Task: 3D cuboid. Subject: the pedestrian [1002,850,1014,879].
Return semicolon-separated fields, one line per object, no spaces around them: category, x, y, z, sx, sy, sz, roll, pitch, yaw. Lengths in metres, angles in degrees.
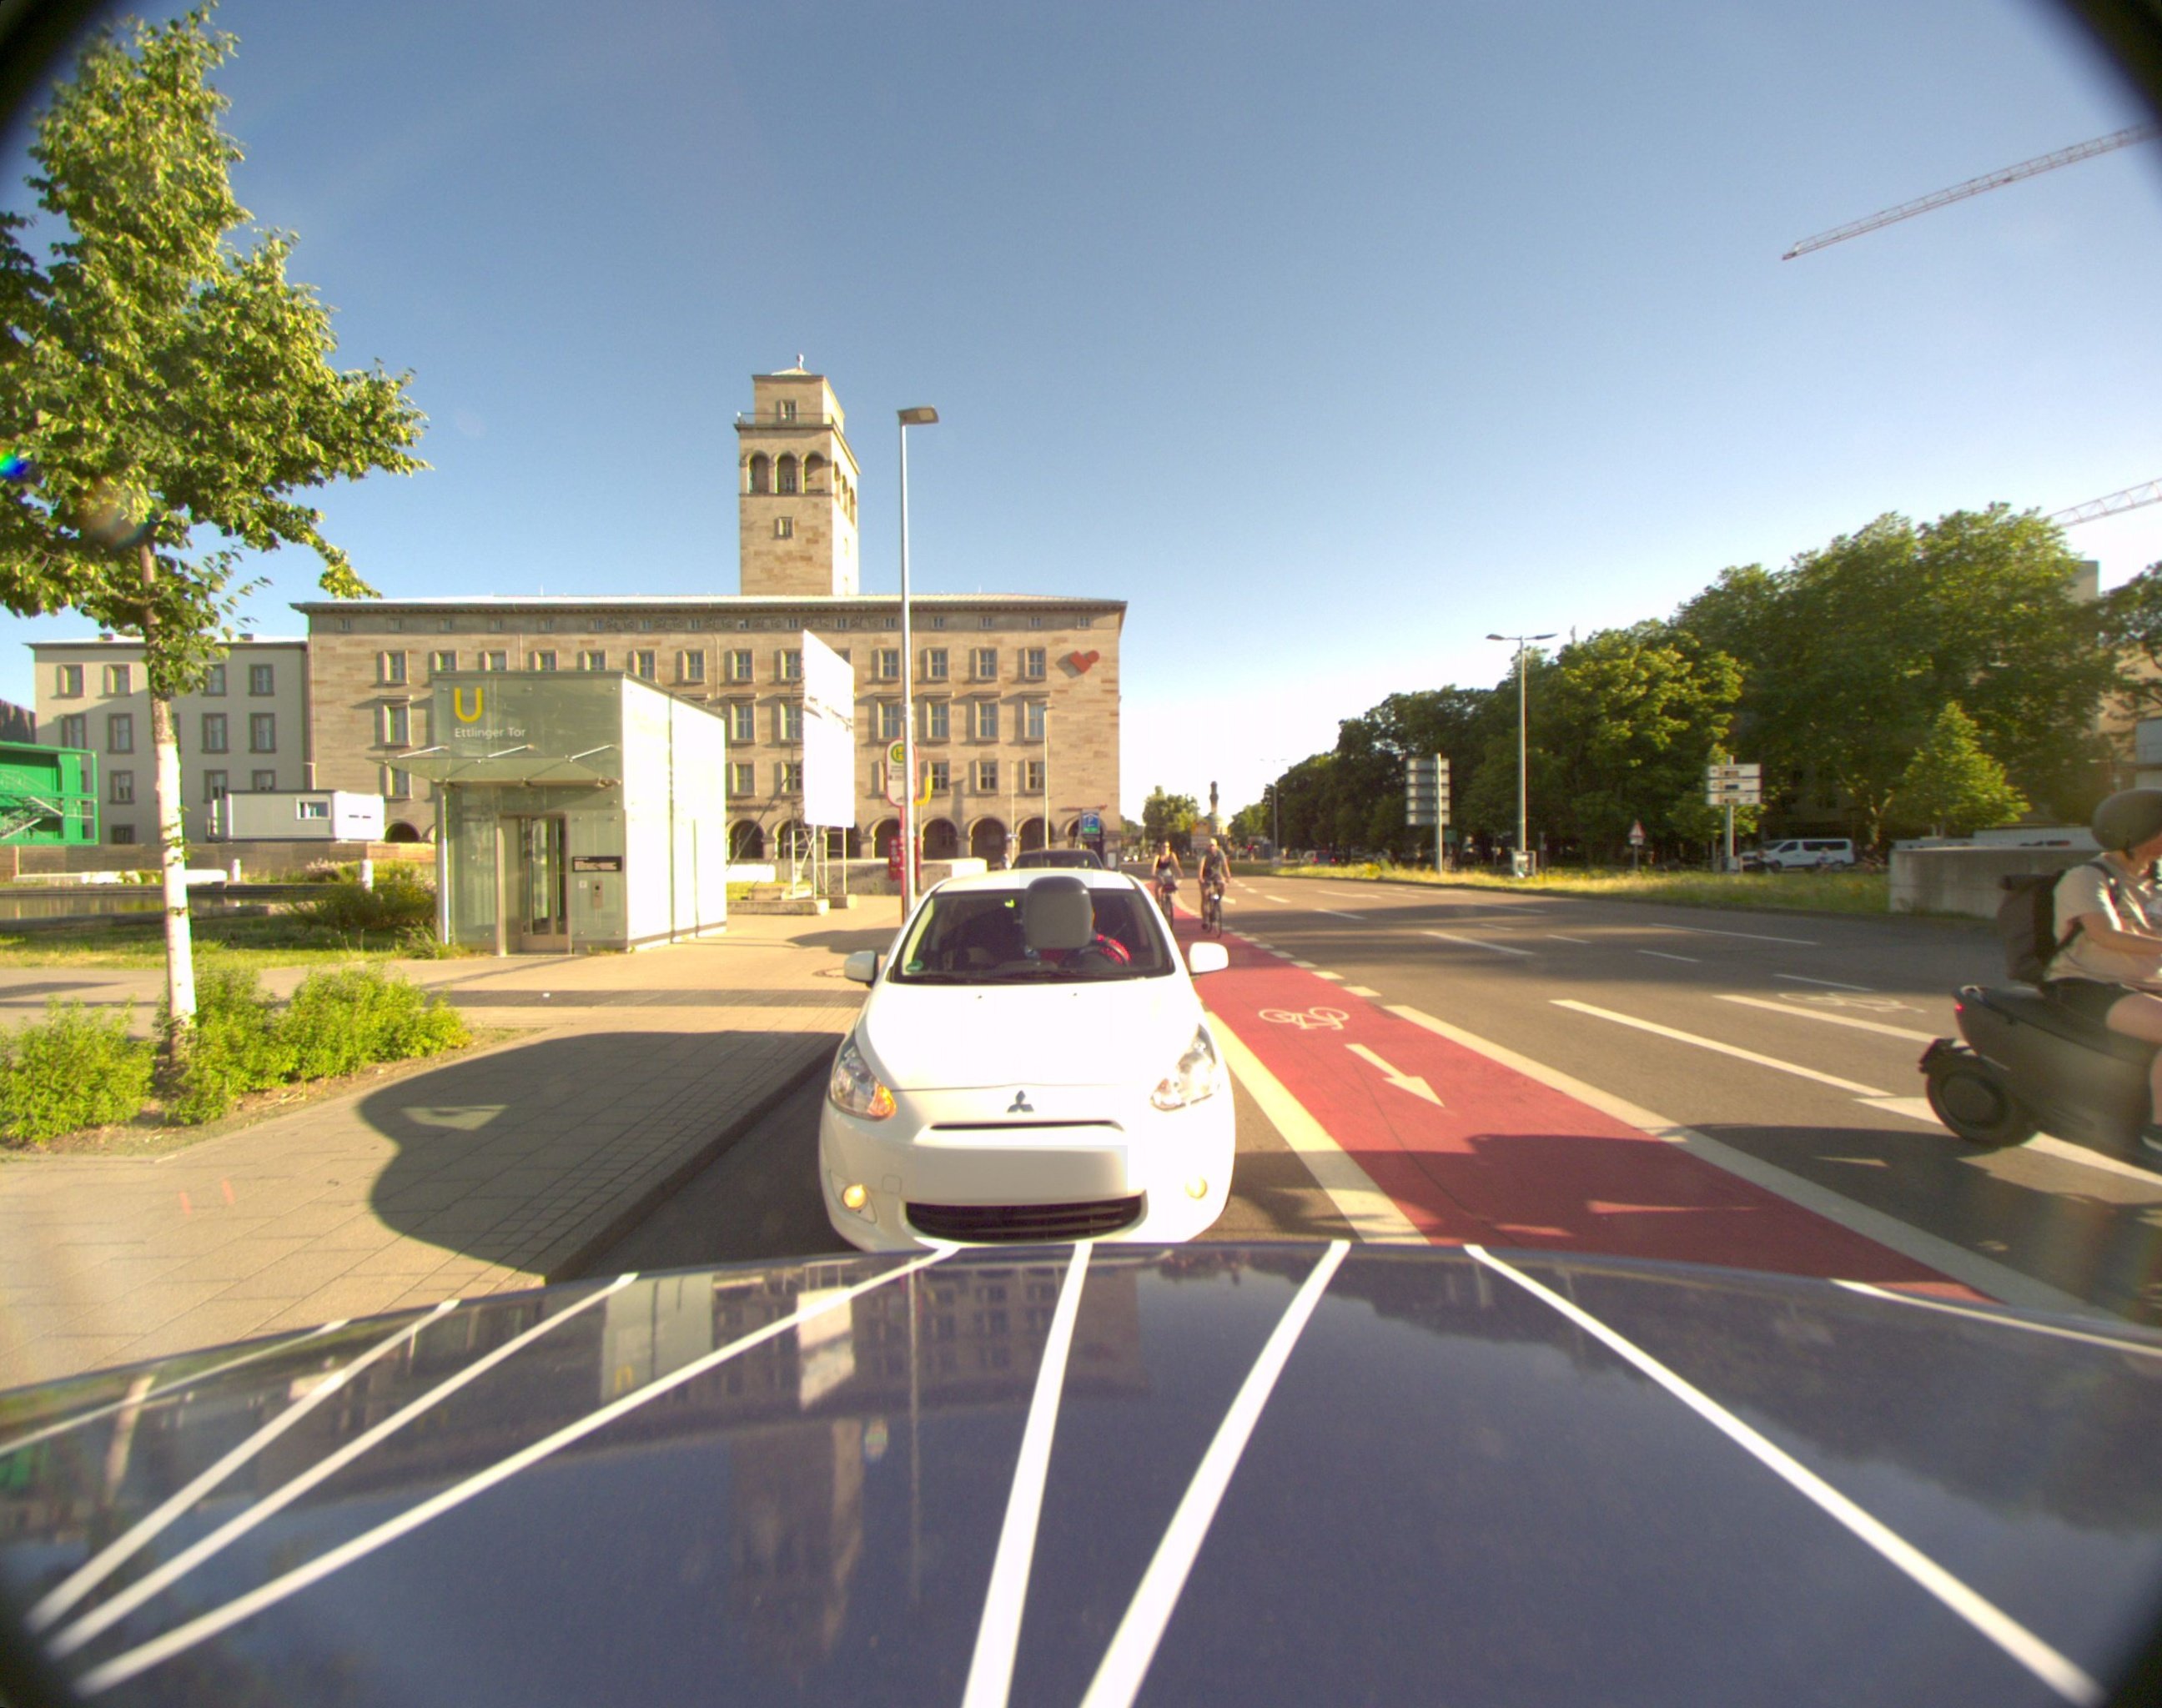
pedestrian;-4.199;0.596;43.773;0.595;1.700;0.583;-1;1;1

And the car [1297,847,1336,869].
car;21.613;0.335;69.853;1.887;1.911;4.930;-1;0;-2

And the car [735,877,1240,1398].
car;-0.256;0.928;4.310;1.519;1.447;4.000;-1;0;1

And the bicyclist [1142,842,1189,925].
bicyclist;1.648;0.565;14.917;0.823;1.568;0.877;-1;1;1

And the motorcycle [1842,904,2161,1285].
motorcycle;4.271;0.899;2.885;0.828;1.273;1.944;-1;0;1

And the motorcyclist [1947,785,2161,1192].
motorcyclist;4.271;0.475;2.947;0.823;1.455;0.877;-1;1;1

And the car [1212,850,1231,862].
car;17.097;0.206;92.586;1.728;1.369;3.943;-1;0;1

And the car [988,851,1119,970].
car;-0.367;0.798;12.766;1.833;1.660;4.000;-1;0;1

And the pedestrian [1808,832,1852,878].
pedestrian;33.287;0.042;33.789;1.126;1.952;0.815;-2;1;1

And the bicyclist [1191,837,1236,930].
bicyclist;2.407;0.523;13.891;0.674;1.649;0.877;-1;1;1

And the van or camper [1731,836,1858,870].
van or camper;42.237;-0.048;45.064;5.499;1.934;1.951;-1;0;4

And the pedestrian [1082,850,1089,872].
pedestrian;0.380;0.537;60.281;0.552;1.692;0.553;-1;1;-1

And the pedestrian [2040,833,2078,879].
pedestrian;34.653;0.061;26.934;0.588;1.593;0.598;-2;1;-2

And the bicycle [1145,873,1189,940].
bicycle;1.662;0.995;14.848;0.689;1.185;1.506;-1;1;1

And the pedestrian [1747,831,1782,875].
pedestrian;32.445;-0.051;36.071;0.957;2.002;0.839;-3;1;-16

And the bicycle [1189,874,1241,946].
bicycle;2.420;0.976;13.823;0.689;1.185;1.506;-1;1;1
